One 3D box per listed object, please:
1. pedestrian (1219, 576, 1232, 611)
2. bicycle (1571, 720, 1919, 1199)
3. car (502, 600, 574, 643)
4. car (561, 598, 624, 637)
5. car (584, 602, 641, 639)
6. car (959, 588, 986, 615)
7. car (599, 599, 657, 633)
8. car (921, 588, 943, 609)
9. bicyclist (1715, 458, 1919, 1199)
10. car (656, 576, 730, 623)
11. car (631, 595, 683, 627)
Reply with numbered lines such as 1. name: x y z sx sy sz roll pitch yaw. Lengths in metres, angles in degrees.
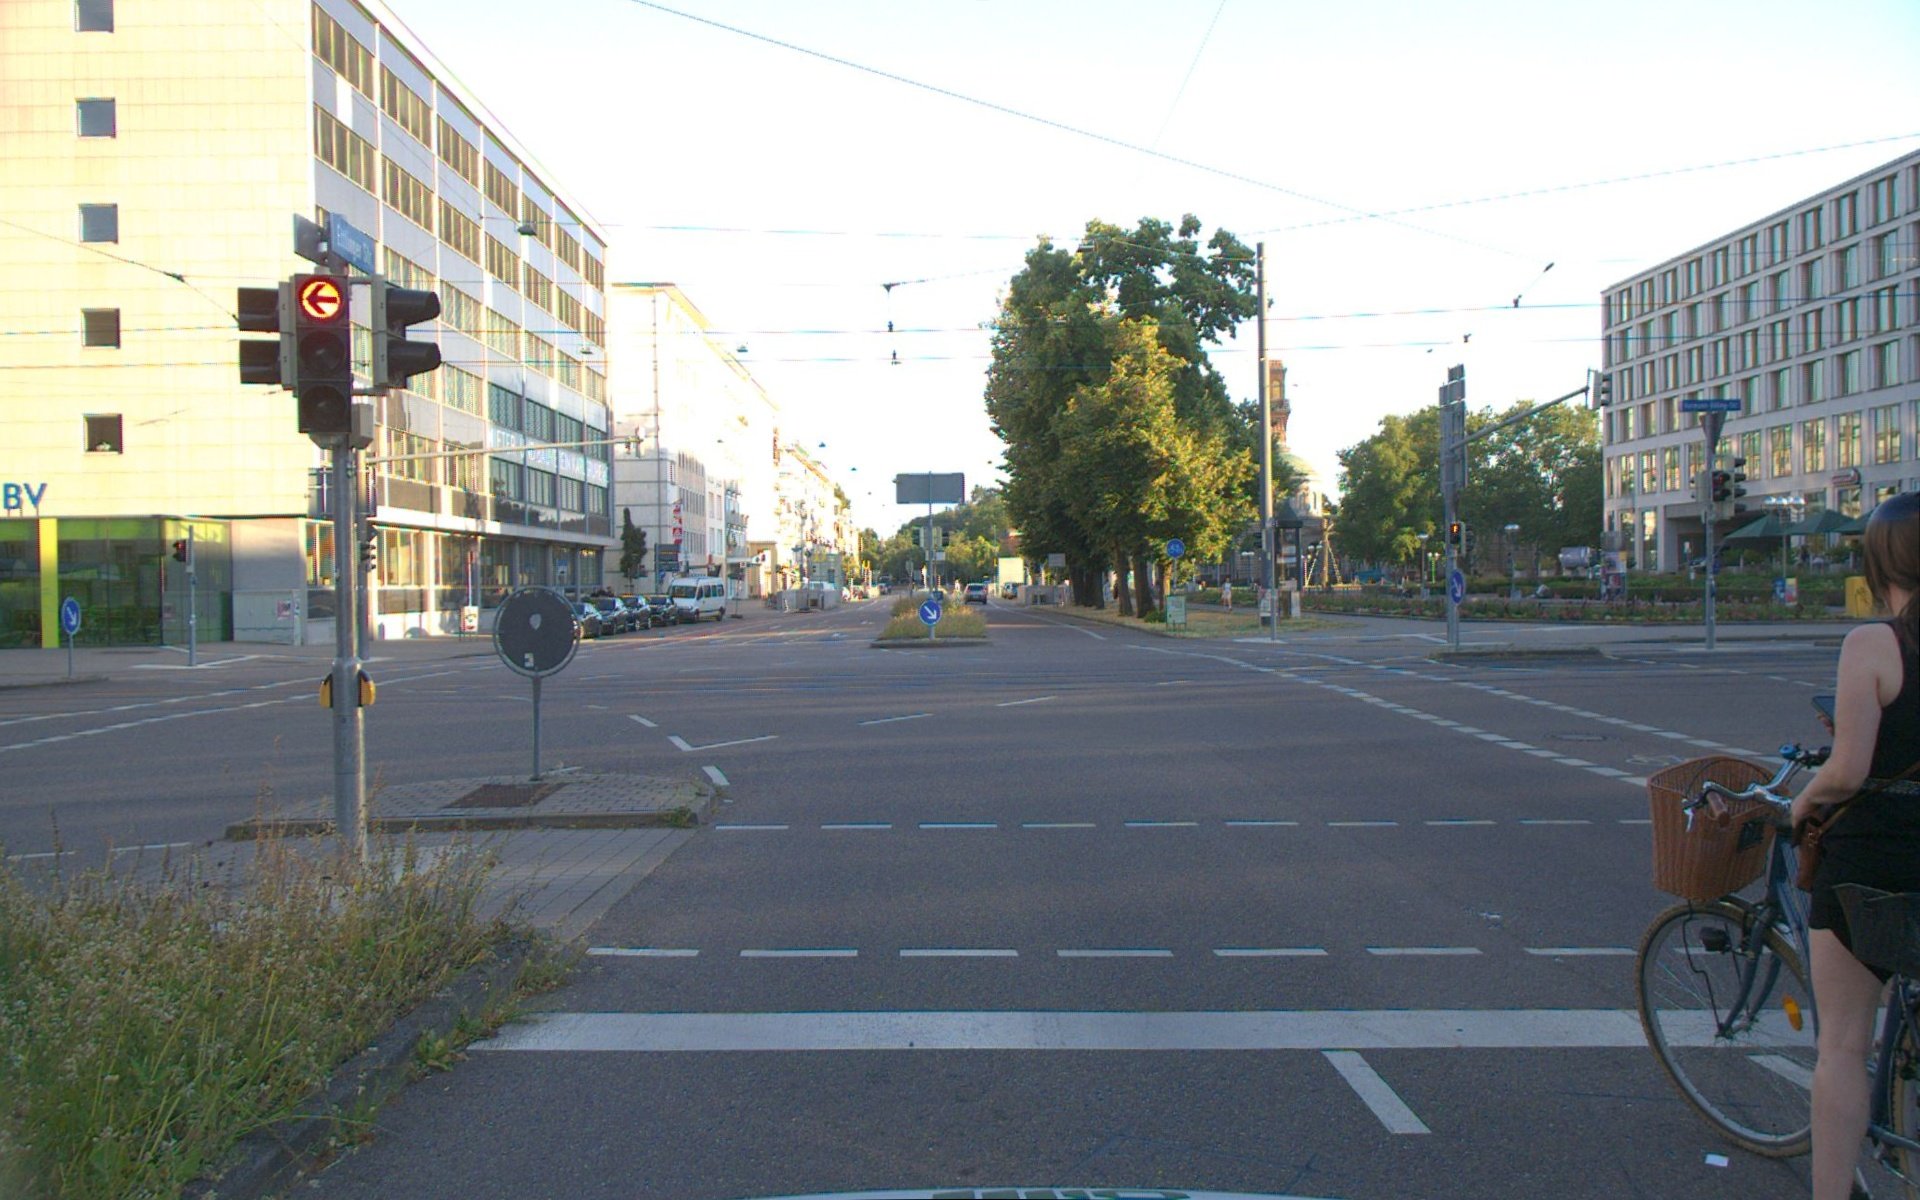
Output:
1. pedestrian: 12.979 -0.303 80.766 0.498 1.697 0.531 -1 0 -2
2. bicycle: 2.132 0.909 3.867 0.624 1.087 2.069 0 0 -1
3. car: -15.985 0.833 62.873 1.760 1.501 3.998 -1 -2 -1
4. car: -15.290 0.745 68.959 1.760 1.501 3.998 -1 -2 -1
5. car: -15.533 0.933 74.004 1.760 1.501 3.998 -1 -2 -1
6. car: 1.002 0.095 131.094 1.953 2.049 3.999 -1 0 -1
7. car: -15.919 0.771 79.365 1.758 1.501 4.001 -1 -2 3
8. car: -2.572 -0.170 149.883 1.953 1.847 3.999 -1 0 -1
9. bicyclist: 2.122 0.581 3.550 0.615 1.723 0.748 -1 0 -1
10. car: -14.859 0.009 92.375 2.130 2.427 5.994 -2 -2 11
11. car: -15.662 0.583 85.770 1.759 1.501 4.001 -1 -2 3
